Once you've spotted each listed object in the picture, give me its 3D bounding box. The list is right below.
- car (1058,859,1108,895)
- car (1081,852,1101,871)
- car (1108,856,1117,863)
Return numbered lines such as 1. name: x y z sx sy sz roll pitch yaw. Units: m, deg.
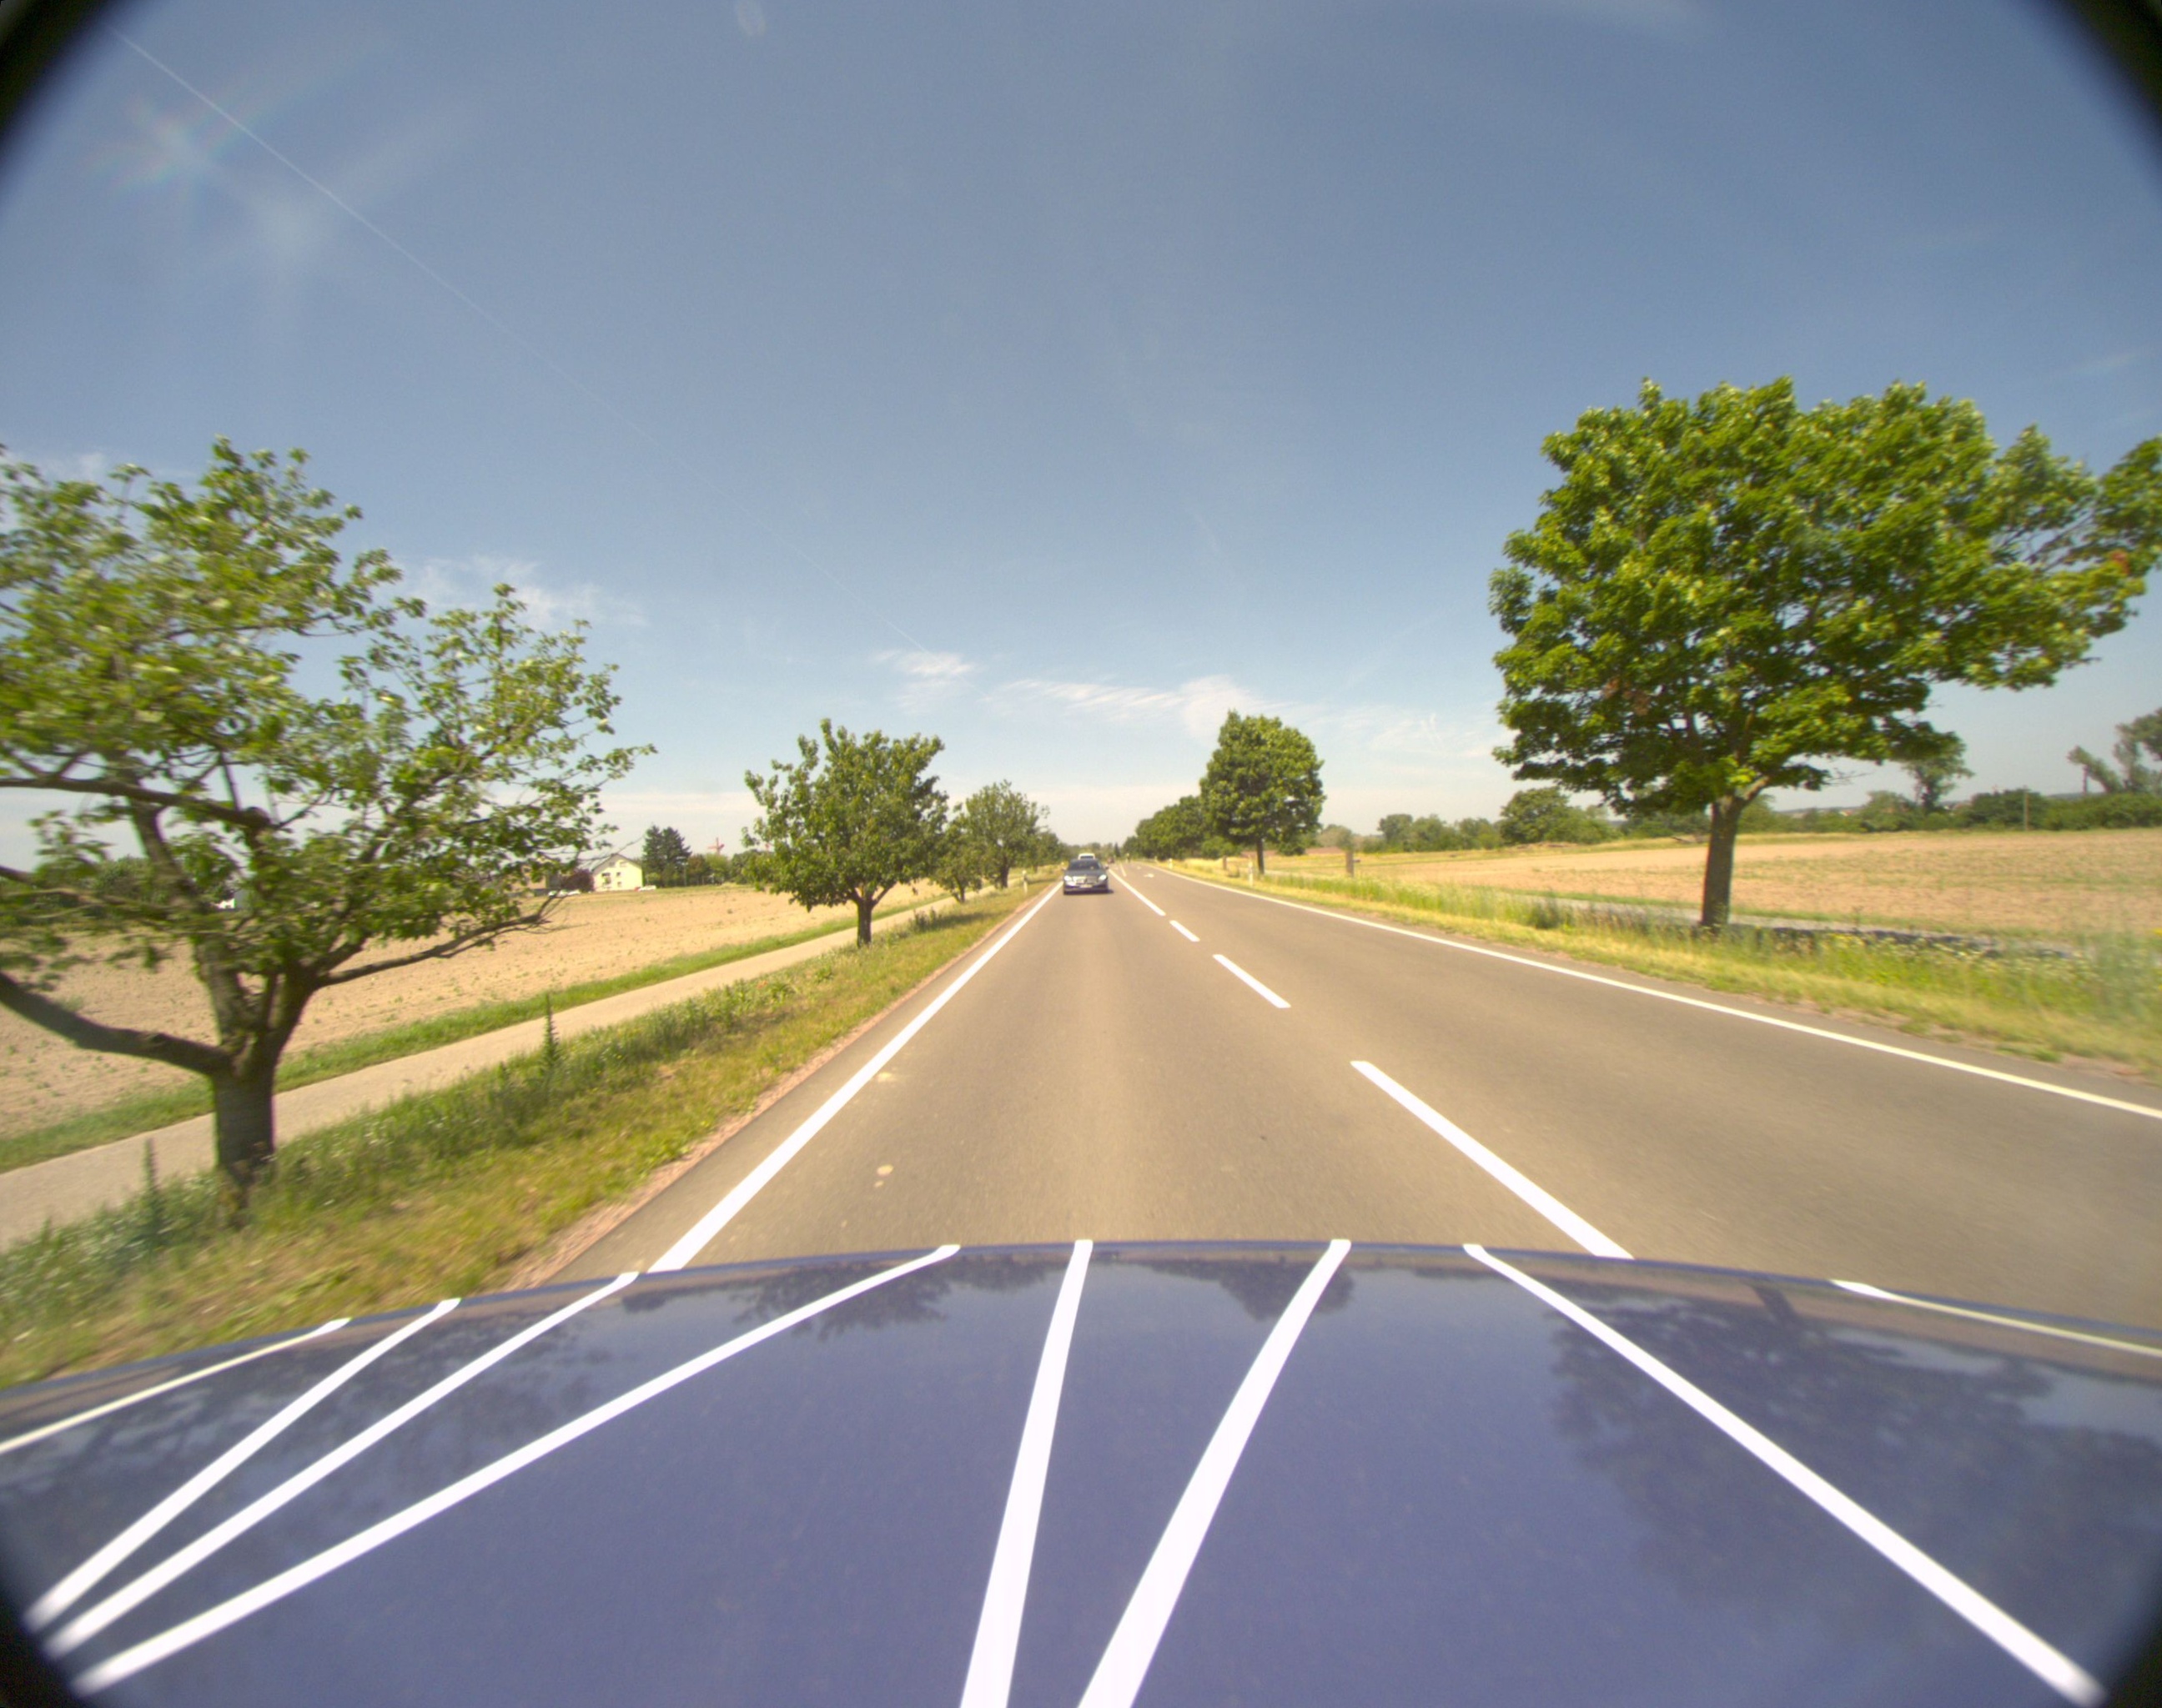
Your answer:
1. car: 0.139 0.945 32.626 1.953 1.390 4.000 -1 0 2
2. car: 1.070 0.751 80.330 1.998 1.907 4.206 -3 0 1
3. car: 7.805 1.231 186.051 1.998 1.543 4.317 -3 0 1
